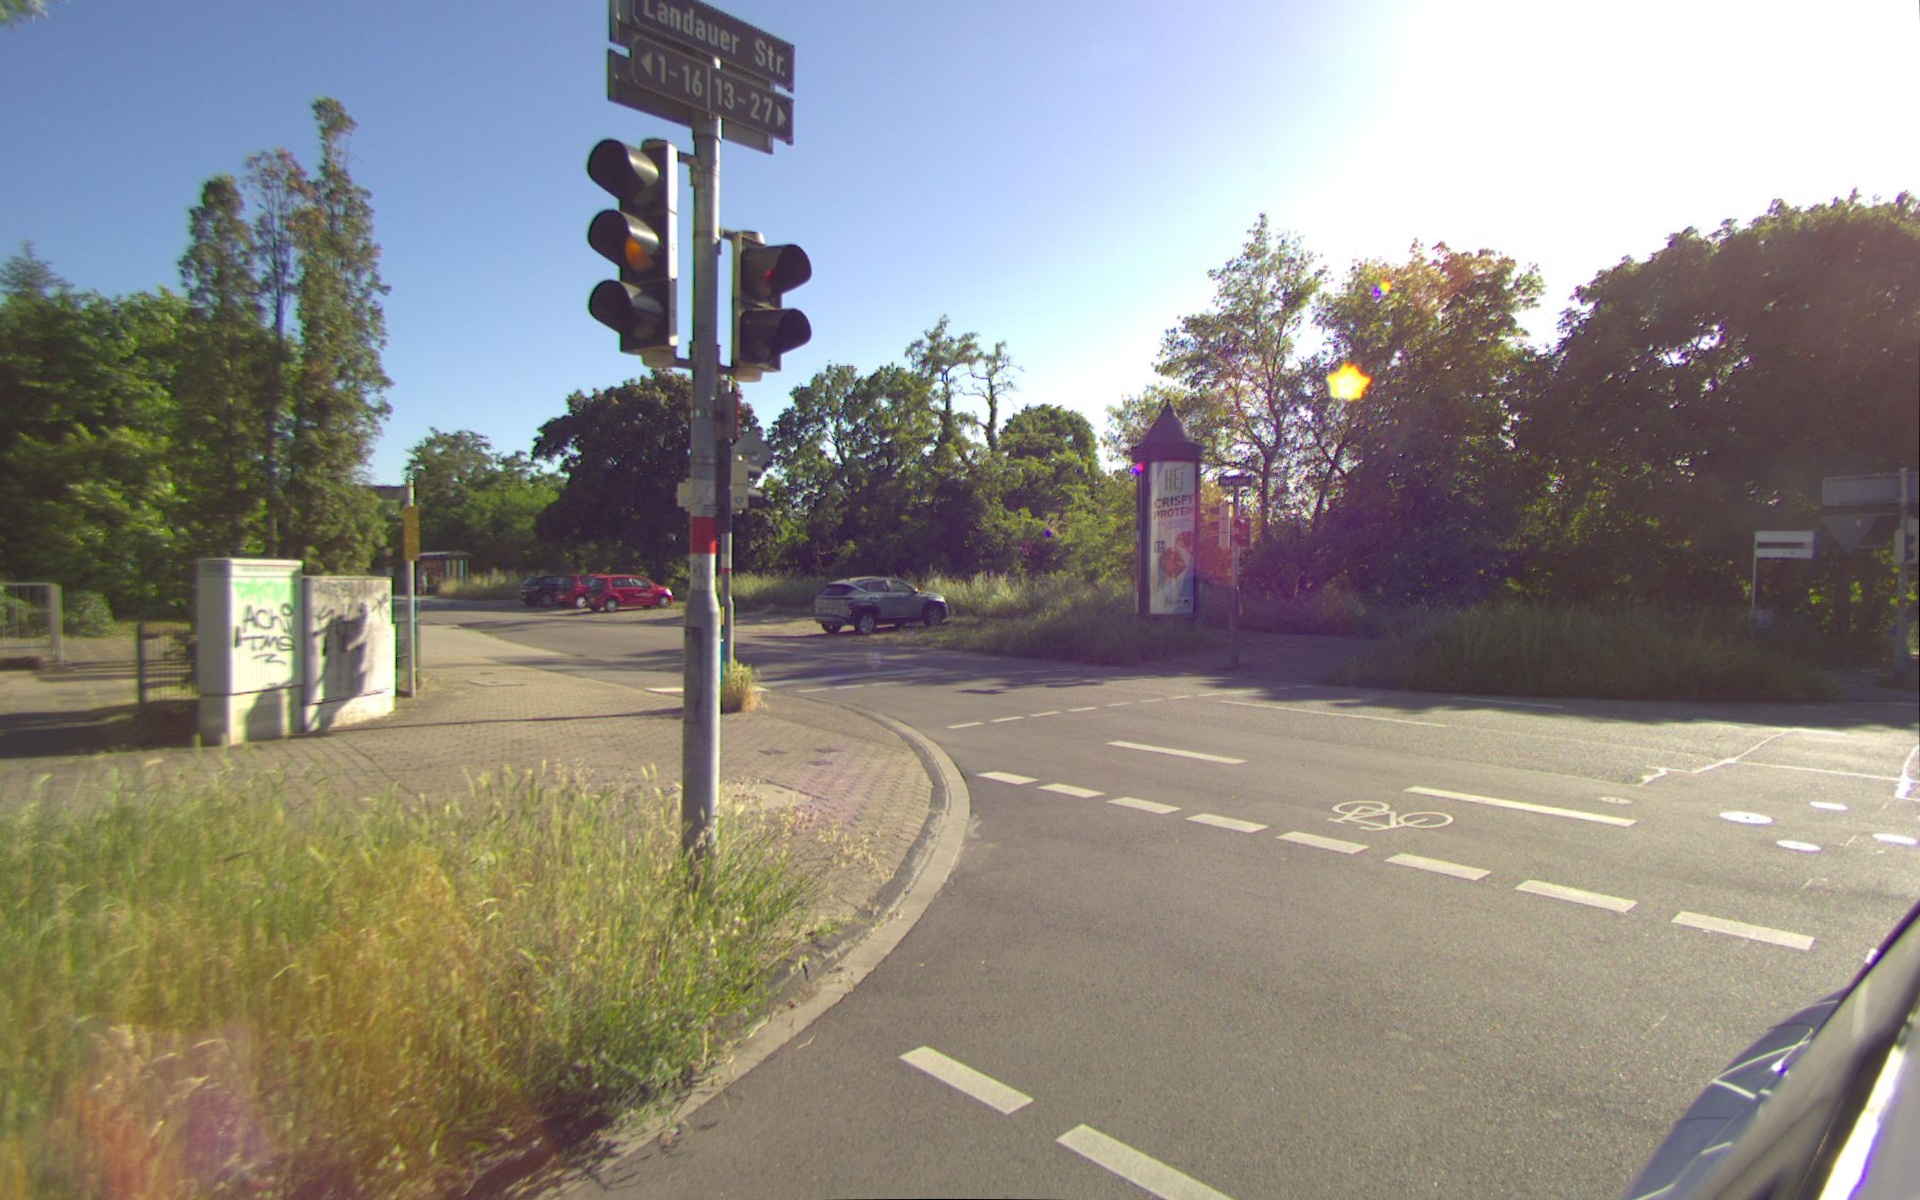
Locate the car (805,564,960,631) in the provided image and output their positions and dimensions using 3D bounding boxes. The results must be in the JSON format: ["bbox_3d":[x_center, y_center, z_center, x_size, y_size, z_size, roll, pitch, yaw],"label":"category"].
[{"bbox_3d":[-2.232,-0.107,30.088,4.377,1.670,1.864,-5,3,-44],"label":"car"}]

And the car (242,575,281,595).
[{"bbox_3d":[-60.016,-1.285,86.899,4.181,1.550,1.841,-1,3,43],"label":"car"}]

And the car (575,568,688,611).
[{"bbox_3d":[-13.893,-0.469,42.940,4.130,1.550,1.864,-5,3,-44],"label":"car"}]

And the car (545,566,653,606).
[{"bbox_3d":[-16.243,-0.632,45.652,4.130,1.550,1.864,-5,3,-44],"label":"car"}]

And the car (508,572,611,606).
[{"bbox_3d":[-18.872,-0.523,47.757,4.127,1.551,1.865,0,1,-44],"label":"car"}]
